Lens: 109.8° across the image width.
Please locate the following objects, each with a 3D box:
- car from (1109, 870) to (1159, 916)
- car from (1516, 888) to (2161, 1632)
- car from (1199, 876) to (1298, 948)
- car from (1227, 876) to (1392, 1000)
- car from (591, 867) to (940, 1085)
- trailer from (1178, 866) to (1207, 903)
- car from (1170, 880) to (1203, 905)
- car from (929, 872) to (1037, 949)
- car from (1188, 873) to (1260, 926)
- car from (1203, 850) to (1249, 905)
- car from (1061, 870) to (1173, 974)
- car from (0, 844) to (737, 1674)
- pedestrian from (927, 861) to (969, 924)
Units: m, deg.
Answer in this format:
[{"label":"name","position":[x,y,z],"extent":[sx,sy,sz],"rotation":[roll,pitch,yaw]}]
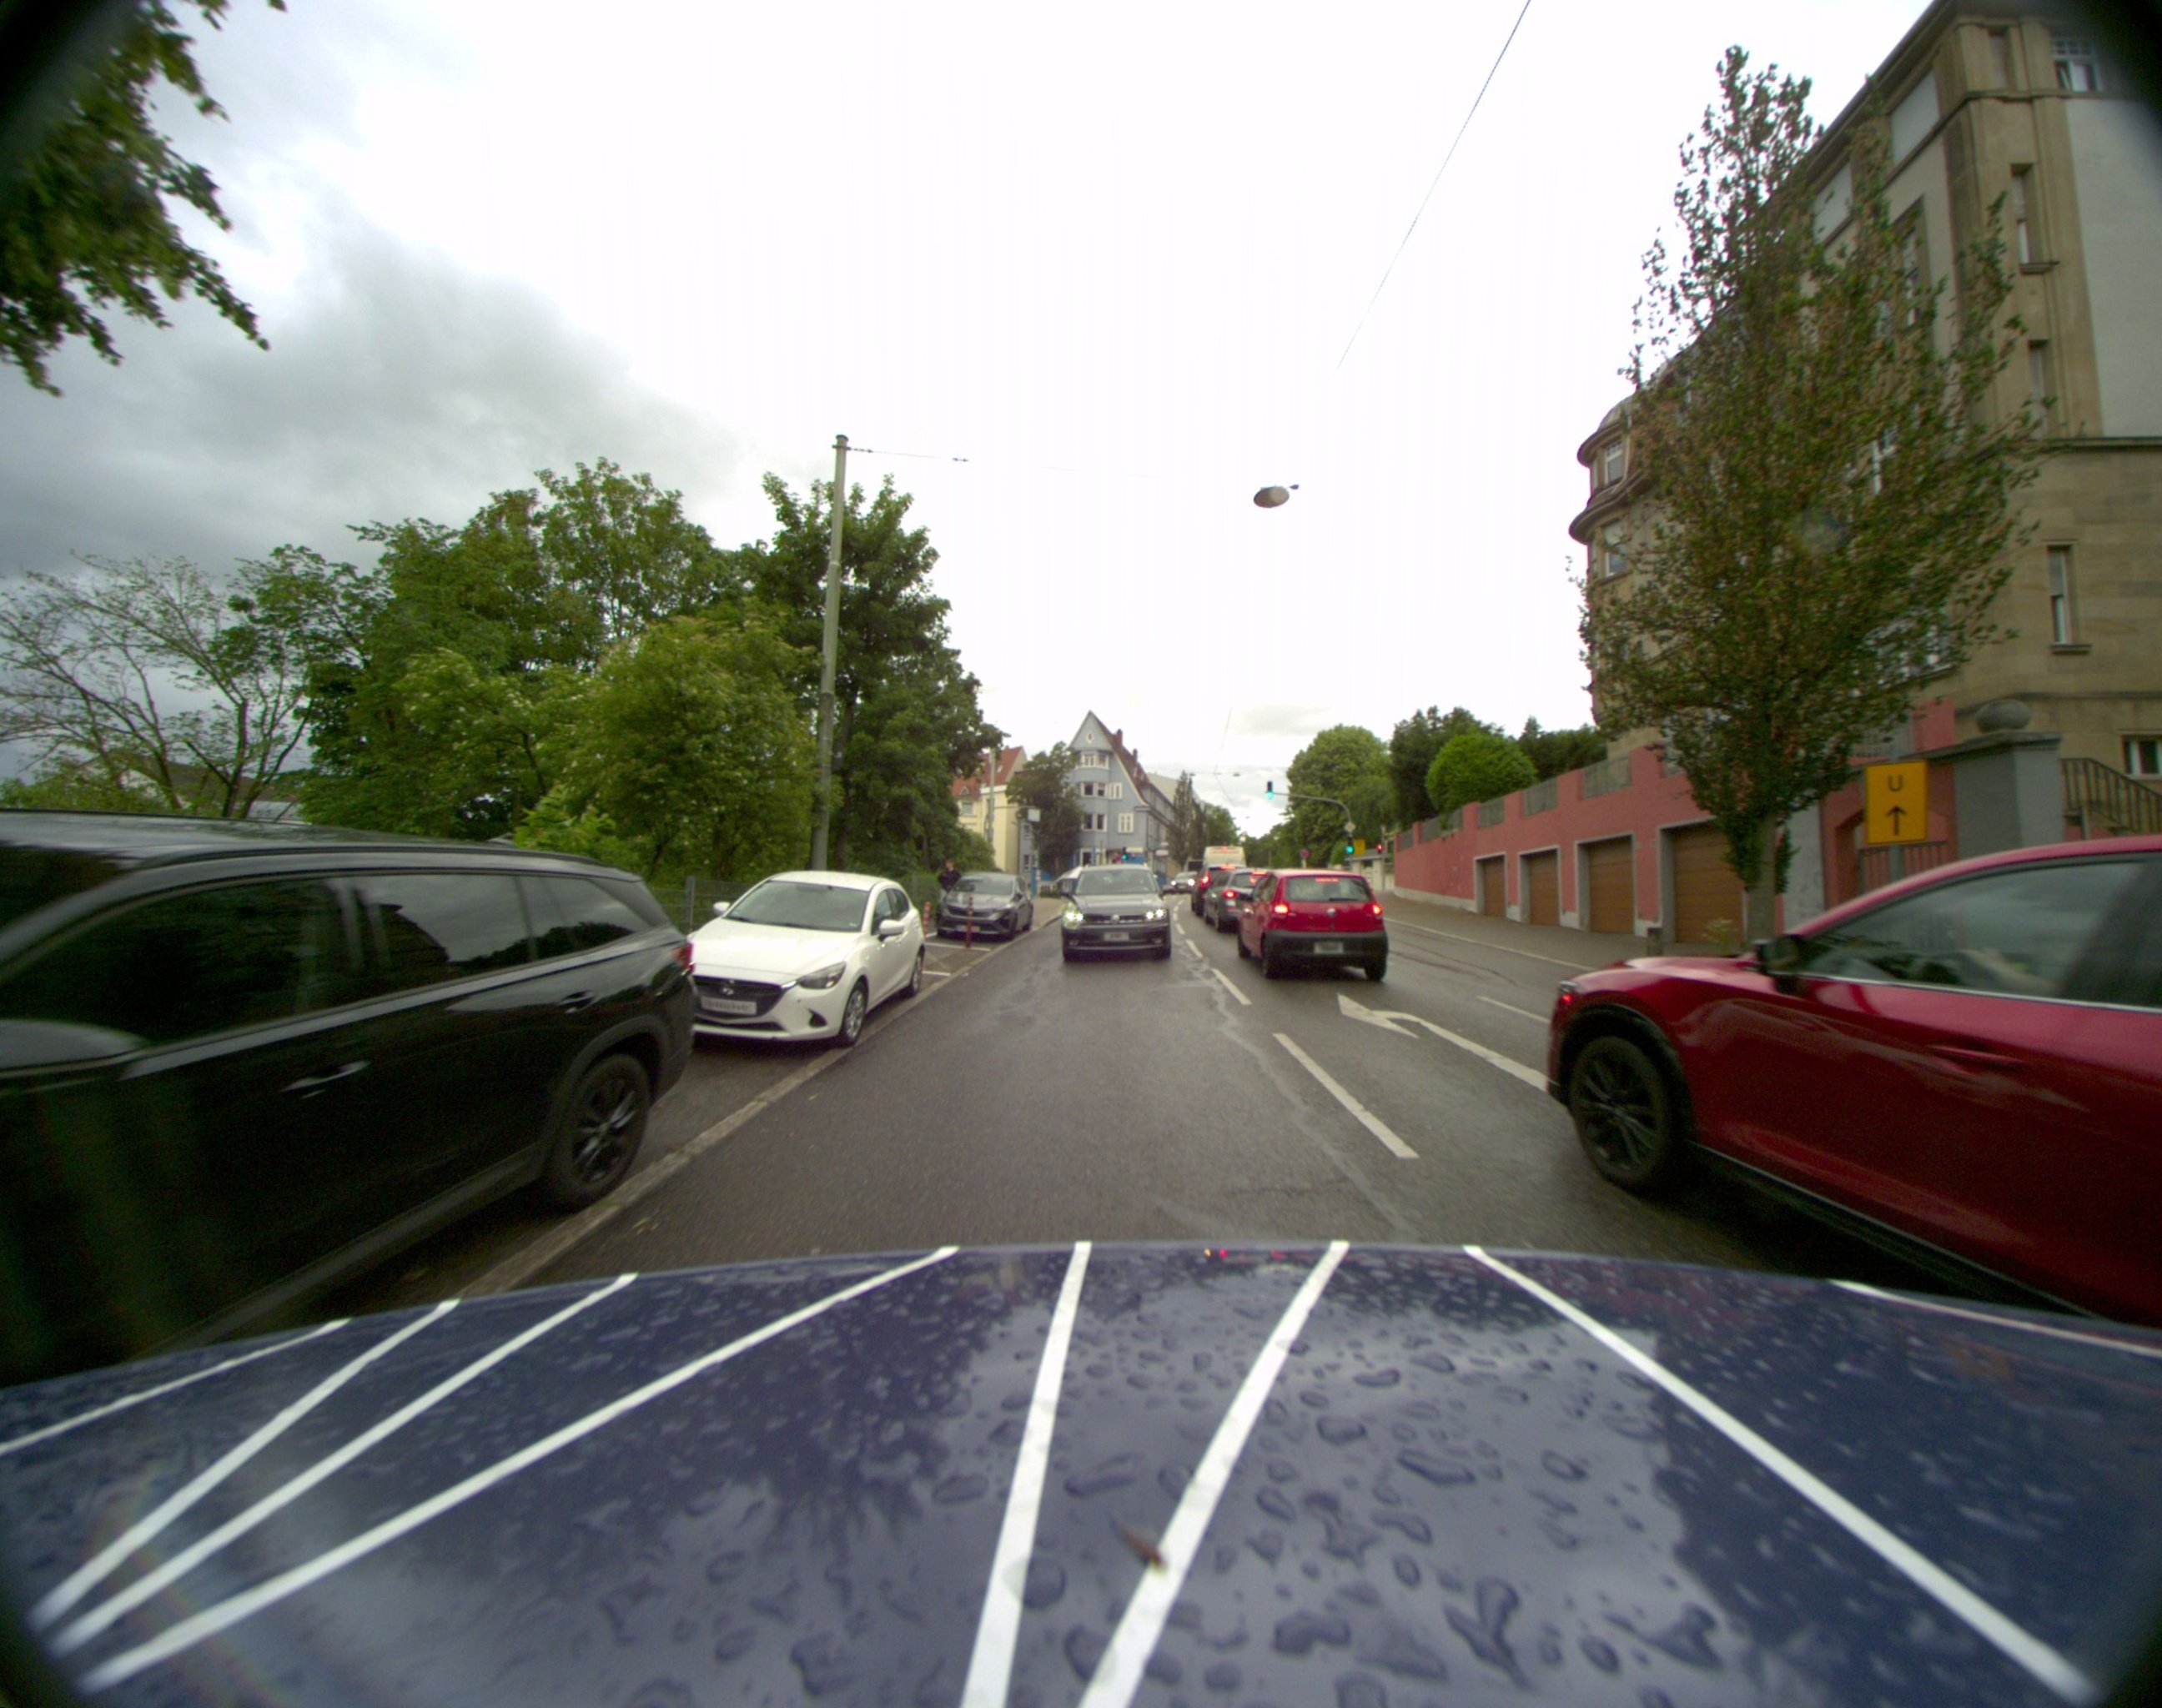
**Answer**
[{"label":"car","position":[2.124,1.473,29.744],"extent":[1.785,1.631,4.203],"rotation":[1,-2,5]},{"label":"car","position":[3.303,0.951,1.944],"extent":[1.850,1.574,4.280],"rotation":[3,-1,-1]},{"label":"car","position":[4.029,1.339,18.920],"extent":[1.777,1.488,4.265],"rotation":[3,-1,5]},{"label":"car","position":[3.326,1.136,11.785],"extent":[1.658,1.559,4.003],"rotation":[0,-1,5]},{"label":"car","position":[-2.841,0.988,7.941],"extent":[1.819,1.486,4.000],"rotation":[6,0,0]},{"label":"trailer","position":[8.252,2.225,56.097],"extent":[1.769,2.609,3.037],"rotation":[-1,-1,15]},{"label":"car","position":[7.374,2.665,52.965],"extent":[1.734,1.609,3.480],"rotation":[-1,-1,16]},{"label":"car","position":[-2.168,1.221,17.823],"extent":[1.652,1.396,3.814],"rotation":[5,0,4]},{"label":"car","position":[4.534,1.401,24.694],"extent":[1.879,1.565,4.589],"rotation":[0,-1,5]},{"label":"car","position":[7.446,1.189,38.673],"extent":[2.120,2.530,5.547],"rotation":[1,-1,12]},{"label":"car","position":[0.670,1.154,14.307],"extent":[1.785,1.631,4.202],"rotation":[1,-2,2]},{"label":"car","position":[-3.089,0.833,2.106],"extent":[1.825,1.673,4.805],"rotation":[3,-1,3]},{"label":"pedestrian","position":[-3.522,1.003,20.231],"extent":[0.767,1.596,0.966],"rotation":[3,-1,6]}]
